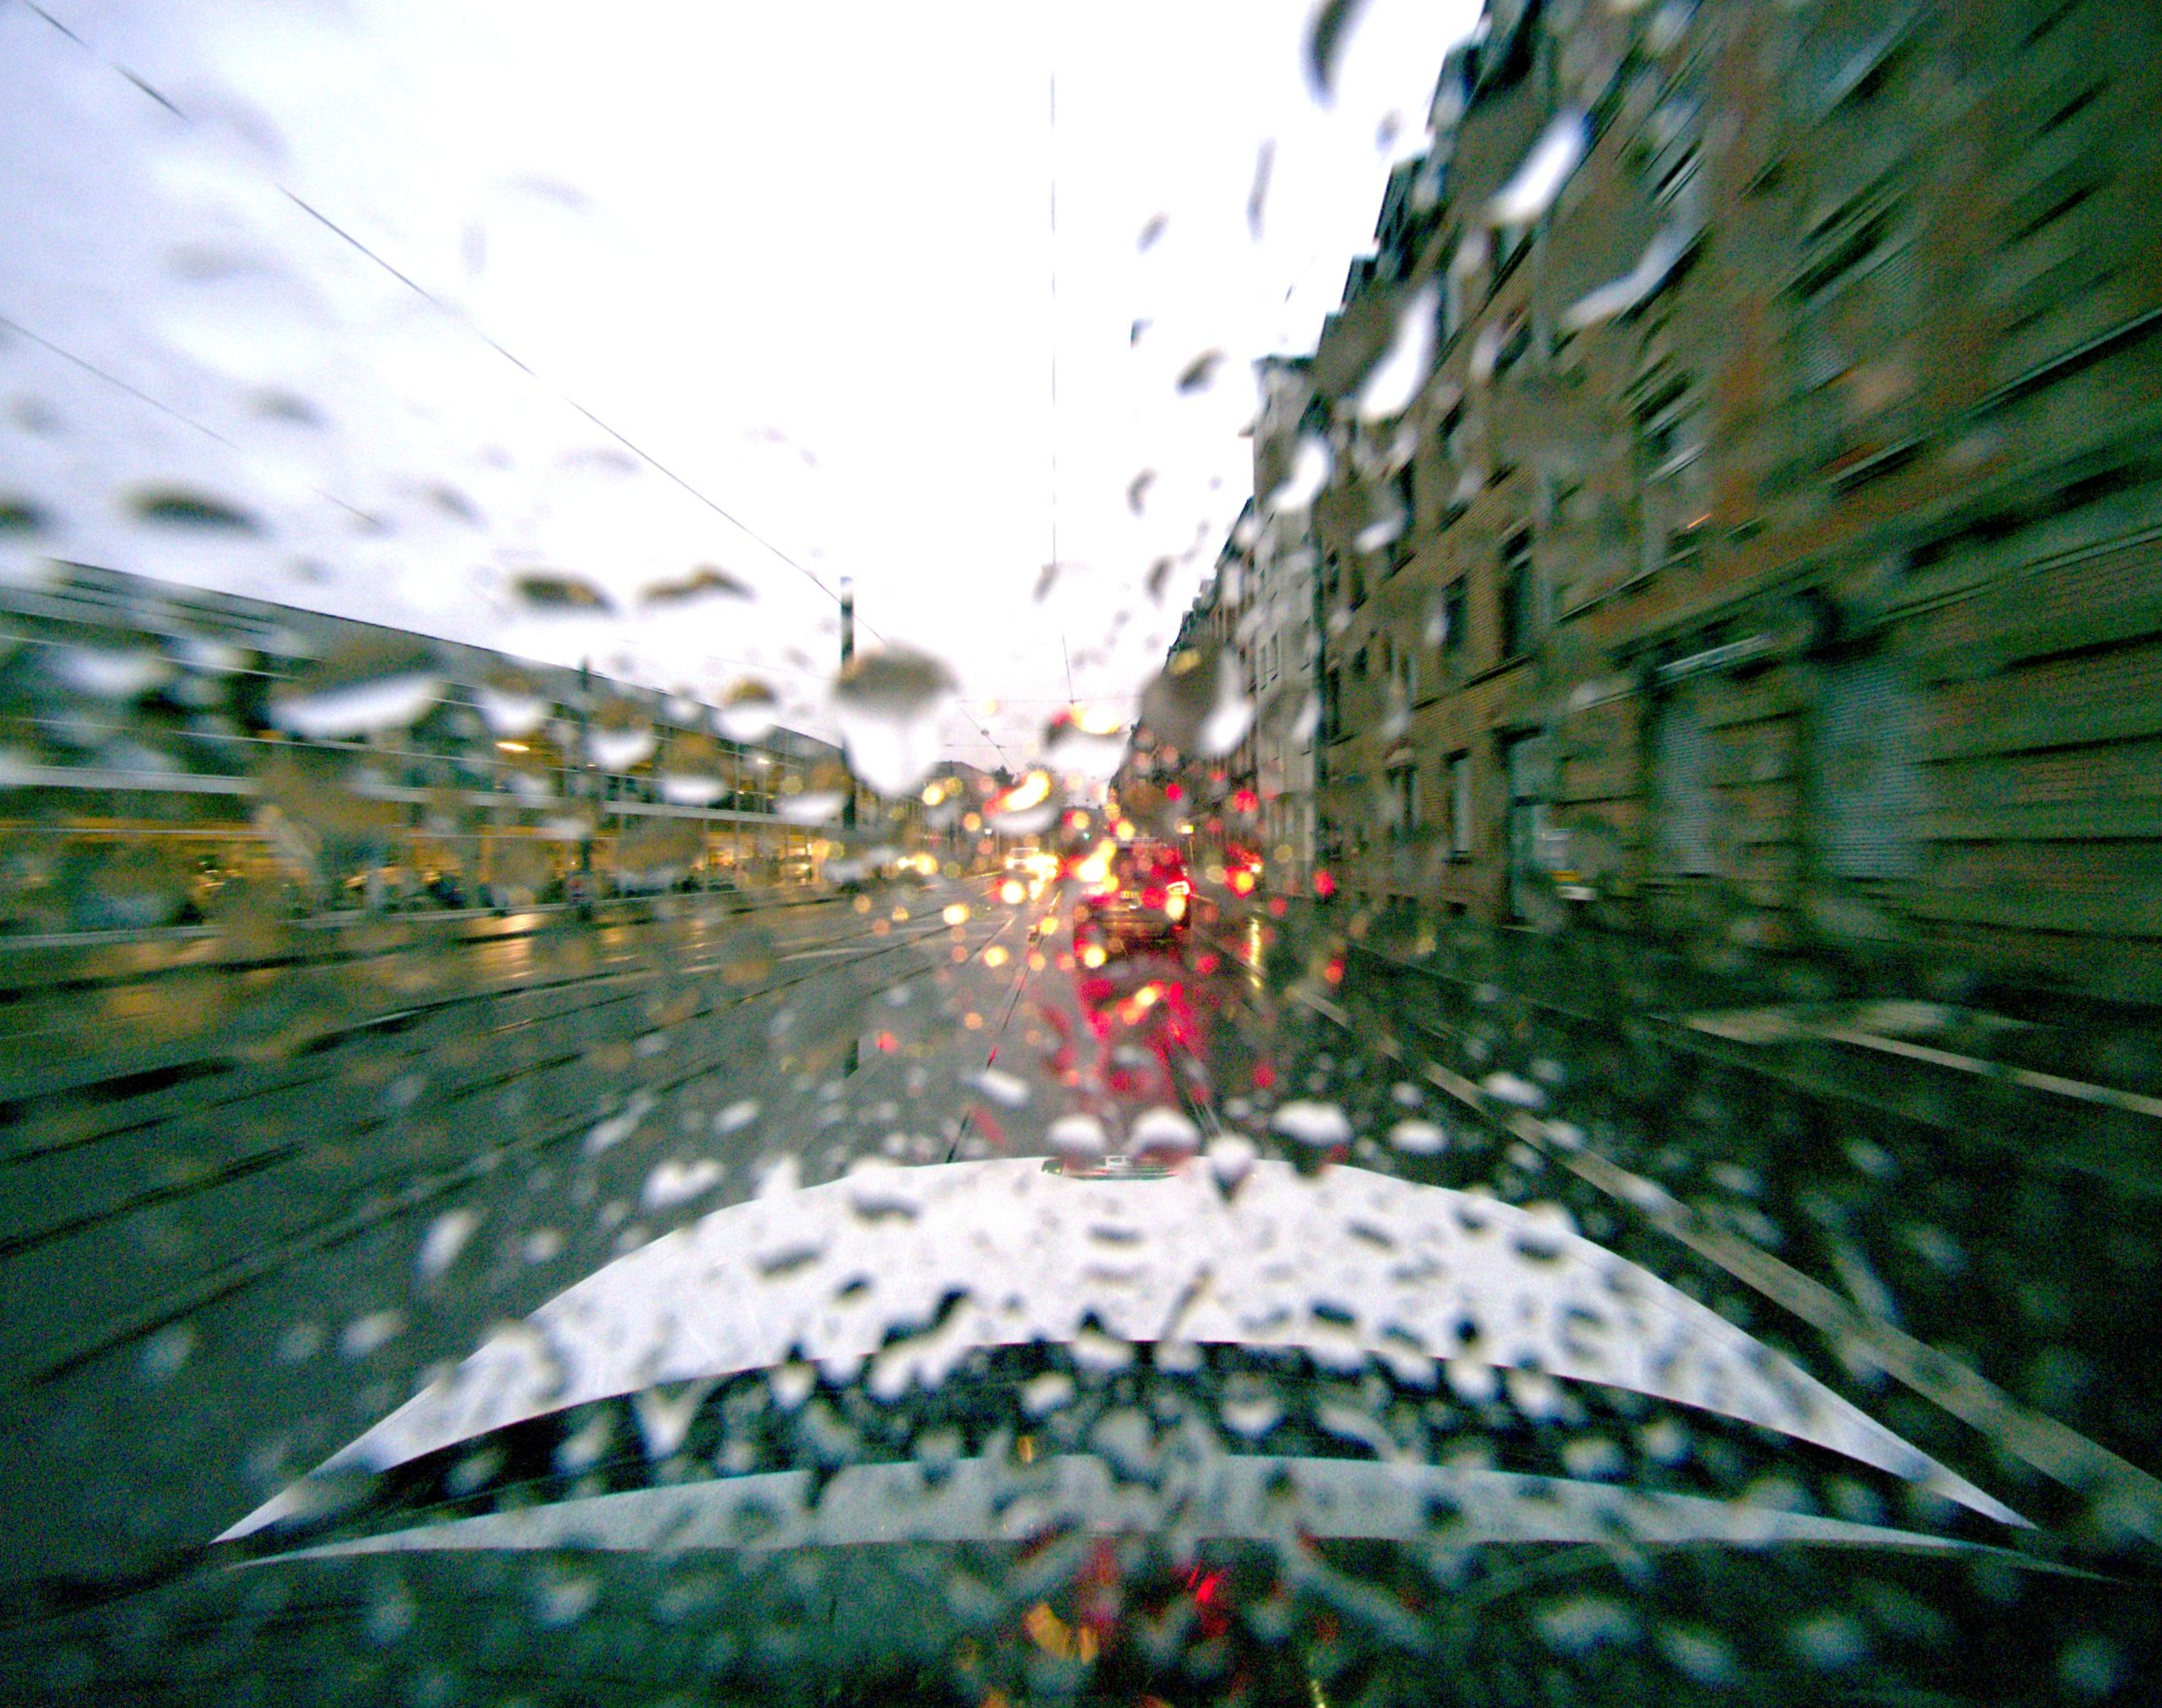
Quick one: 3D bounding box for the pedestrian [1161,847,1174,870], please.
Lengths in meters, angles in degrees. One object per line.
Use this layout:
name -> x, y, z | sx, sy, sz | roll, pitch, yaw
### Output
pedestrian -> 5.870, 0.306, 55.502 | 0.783, 1.597, 0.742 | -1, 0, 0

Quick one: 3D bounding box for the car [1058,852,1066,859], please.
car -> -5.088, 0.468, 218.252 | 1.870, 1.709, 4.758 | -2, 0, -1

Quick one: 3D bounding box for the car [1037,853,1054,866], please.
car -> -4.461, 0.682, 102.759 | 1.834, 1.578, 4.443 | -1, 0, 1

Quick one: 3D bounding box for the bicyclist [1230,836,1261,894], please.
bicyclist -> 5.477, 0.371, 27.143 | 0.743, 1.880, 1.110 | -1, -1, -3

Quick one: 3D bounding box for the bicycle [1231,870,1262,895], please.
bicycle -> 5.483, 0.941, 27.086 | 0.606, 0.761, 1.859 | -1, 0, -2

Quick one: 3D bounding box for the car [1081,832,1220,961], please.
car -> 1.093, 0.623, 13.746 | 1.986, 1.842, 4.002 | -1, 0, 2

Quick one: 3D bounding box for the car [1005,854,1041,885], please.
car -> -3.807, 1.003, 54.152 | 1.986, 2.014, 4.685 | 0, -1, 1

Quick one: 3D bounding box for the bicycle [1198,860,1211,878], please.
bicycle -> 6.800, 0.823, 44.939 | 0.396, 0.911, 1.866 | -1, 0, 0
